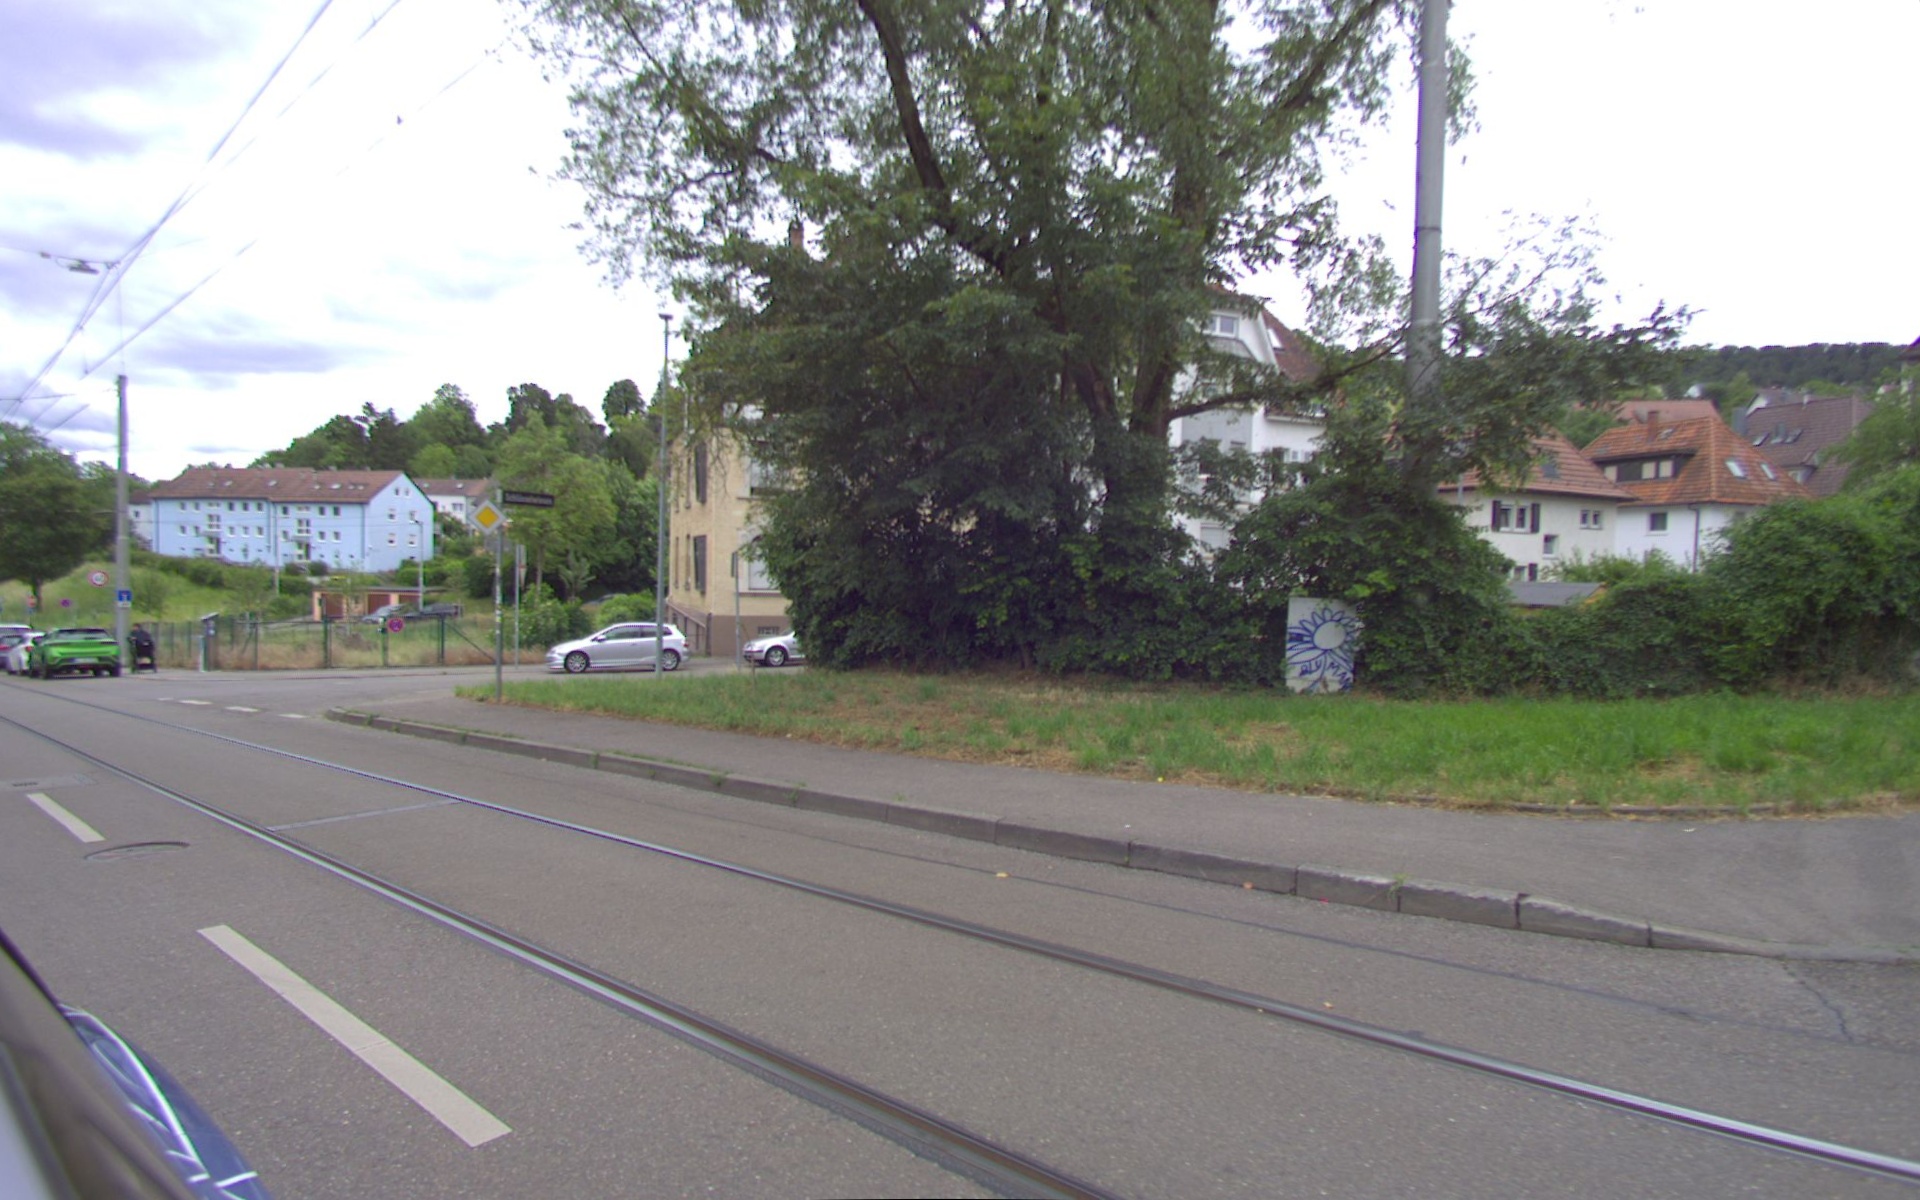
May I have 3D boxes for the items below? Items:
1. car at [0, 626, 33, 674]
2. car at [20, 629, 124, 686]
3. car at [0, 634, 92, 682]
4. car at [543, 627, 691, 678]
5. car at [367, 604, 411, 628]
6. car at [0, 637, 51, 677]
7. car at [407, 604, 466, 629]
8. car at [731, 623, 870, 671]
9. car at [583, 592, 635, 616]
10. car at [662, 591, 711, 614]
[{"bbox_3d":[-41.137,2.107,43.148,4.288,1.961,1.877,-2,-3,41],"label":"car"},{"bbox_3d":[-26.563,1.685,30.238,3.946,1.552,1.832,-2,-1,41],"label":"car"},{"bbox_3d":[-30.784,1.906,34.037,3.946,1.505,1.832,-2,-3,41],"label":"car"},{"bbox_3d":[-10.074,1.496,29.747,3.944,1.388,1.701,0,-1,-25],"label":"car"},{"bbox_3d":[-47.742,1.335,84.685,1.968,1.918,4.008,-1,-1,-10],"label":"car"},{"bbox_3d":[-37.224,2.217,39.705,3.946,1.505,1.832,-2,-3,41],"label":"car"},{"bbox_3d":[-43.441,1.374,84.103,3.935,1.918,2.004,-1,-1,-10],"label":"car"},{"bbox_3d":[-5.010,1.437,31.791,3.979,1.388,1.701,0,-1,-25],"label":"car"},{"bbox_3d":[-30.032,0.366,86.764,3.935,1.918,2.004,-1,-1,-10],"label":"car"},{"bbox_3d":[-23.798,0.226,88.148,3.935,1.918,2.004,-1,-1,-10],"label":"car"}]
